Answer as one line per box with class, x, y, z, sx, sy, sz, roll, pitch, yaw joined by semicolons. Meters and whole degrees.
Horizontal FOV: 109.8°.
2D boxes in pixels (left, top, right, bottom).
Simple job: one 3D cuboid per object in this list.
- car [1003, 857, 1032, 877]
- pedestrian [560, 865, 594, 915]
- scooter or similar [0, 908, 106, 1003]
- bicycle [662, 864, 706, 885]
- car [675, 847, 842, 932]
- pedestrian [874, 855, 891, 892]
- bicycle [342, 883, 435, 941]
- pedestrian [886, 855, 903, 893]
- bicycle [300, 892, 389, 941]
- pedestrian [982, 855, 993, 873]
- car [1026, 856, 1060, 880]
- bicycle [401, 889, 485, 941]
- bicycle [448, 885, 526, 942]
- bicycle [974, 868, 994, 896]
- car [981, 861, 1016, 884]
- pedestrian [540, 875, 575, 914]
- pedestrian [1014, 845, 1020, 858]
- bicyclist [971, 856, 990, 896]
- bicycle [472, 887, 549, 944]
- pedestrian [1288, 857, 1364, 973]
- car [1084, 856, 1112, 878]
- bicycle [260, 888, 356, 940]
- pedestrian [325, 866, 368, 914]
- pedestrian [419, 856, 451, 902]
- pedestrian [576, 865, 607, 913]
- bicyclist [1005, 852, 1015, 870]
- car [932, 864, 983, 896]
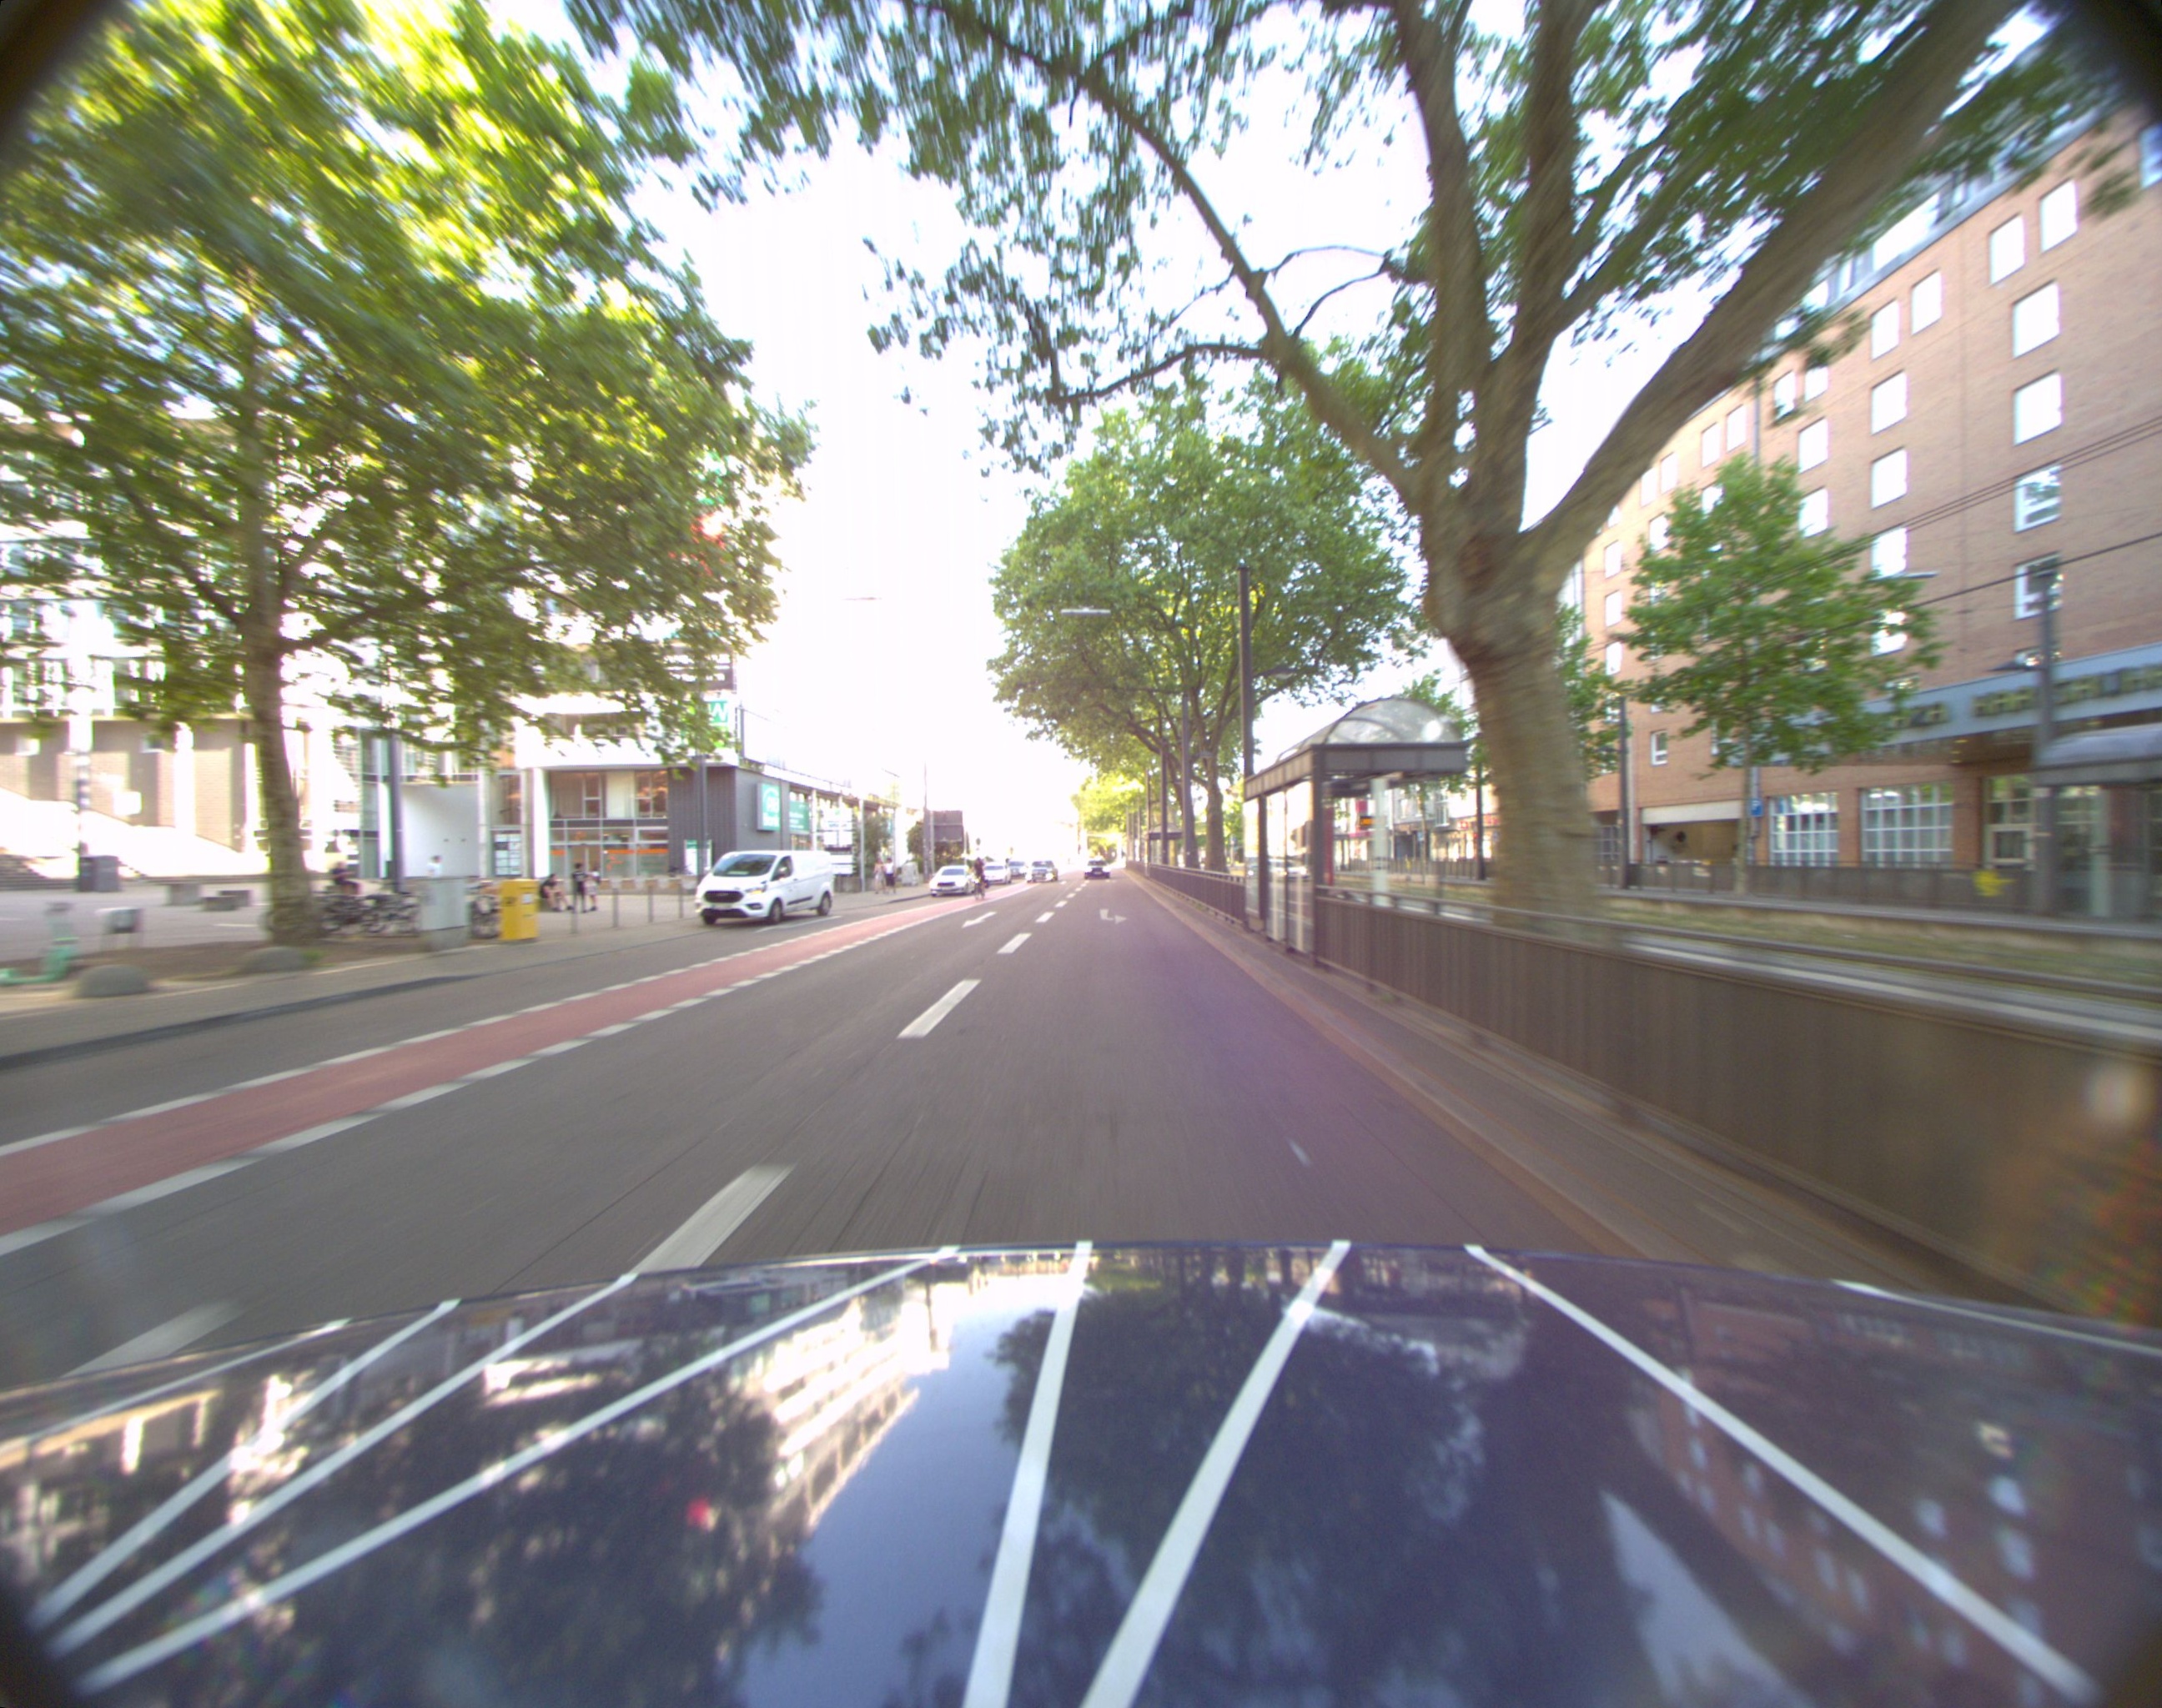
car;-5.319;1.066;63.819;1.998;1.586;4.000;-1;0;2
pedestrian;-15.715;1.115;23.692;0.577;1.534;0.638;0;1;8
scooter or similar;-13.840;1.340;10.132;1.210;1.217;0.411;0;1;5
bicycle;-20.405;1.027;39.042;1.879;1.057;0.700;0;1;0
car;-8.910;0.897;21.650;2.128;2.121;5.291;0;0;4
pedestrian;-9.634;0.932;36.890;0.591;1.798;0.896;0;1;2
bicycle;-15.370;1.256;16.917;0.460;1.172;1.719;0;0;1
pedestrian;-9.015;0.973;36.803;0.564;1.798;0.891;0;1;2
bicycle;-16.242;1.351;16.801;0.460;0.953;1.510;0;0;1
pedestrian;-8.431;0.884;68.566;0.753;1.565;0.912;-1;1;4
car;-2.616;0.947;53.247;1.785;1.628;4.023;0;0;6
bicycle;-14.132;1.319;16.888;0.460;1.023;1.627;-1;0;1
bicycle;-13.321;1.308;17.092;0.514;1.151;1.539;-1;0;1
bicycle;-4.166;1.203;32.771;0.551;1.114;2.127;0;0;1
car;-5.531;1.209;51.340;1.670;1.455;3.870;0;0;5
pedestrian;-16.766;1.282;24.336;0.615;1.214;0.677;0;0;5
pedestrian;-7.913;-0.355;94.034;0.692;1.573;0.664;2;1;3
bicyclist;-4.316;0.940;32.677;0.752;1.678;0.714;0;1;-3
bicycle;-12.677;1.340;16.937;0.514;1.151;1.539;-1;0;1
pedestrian;3.071;0.750;9.586;0.735;1.379;0.640;-2;1;4
car;1.190;0.881;54.842;1.827;1.416;4.346;-2;0;0
bicycle;-17.590;1.347;17.333;0.459;1.071;1.511;-1;0;10
pedestrian;-22.610;1.106;23.410;0.712;1.447;0.601;0;0;2
pedestrian;-24.164;0.926;28.417;0.540;1.666;0.723;0;1;1
pedestrian;-15.746;1.106;24.439;0.516;1.514;0.636;0;0;8
bicyclist;-6.791;0.656;73.083;0.743;1.752;1.209;2;1;2
car;-6.119;1.256;37.988;1.785;1.411;4.022;0;0;1
